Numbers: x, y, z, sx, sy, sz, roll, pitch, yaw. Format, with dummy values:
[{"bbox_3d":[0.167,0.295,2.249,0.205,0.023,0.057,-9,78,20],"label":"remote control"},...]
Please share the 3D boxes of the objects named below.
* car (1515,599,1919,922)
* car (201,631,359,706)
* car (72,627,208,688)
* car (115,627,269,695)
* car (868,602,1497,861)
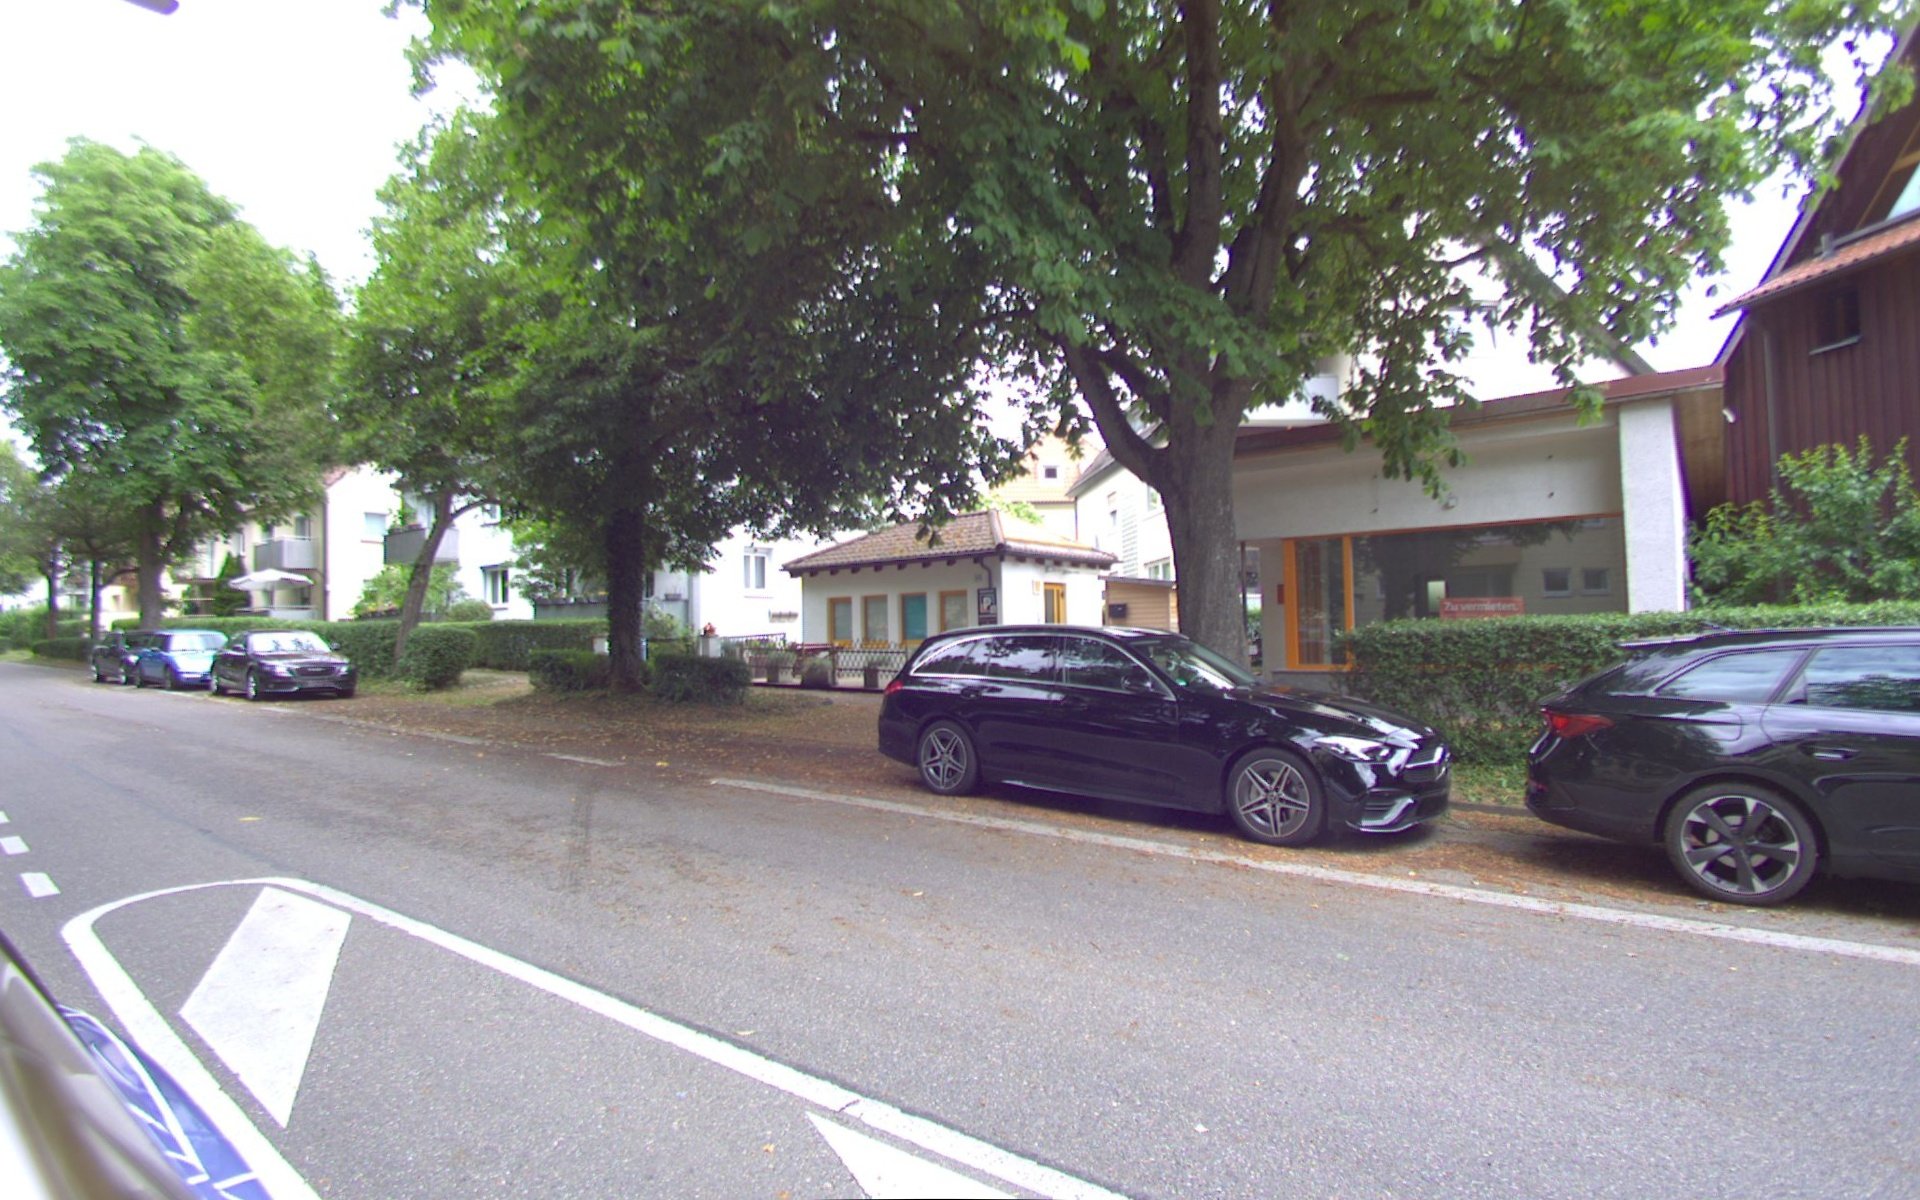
[{"bbox_3d":[5.449,0.751,4.987,4.536,1.497,1.674,-2,-3,38],"label":"car"},{"bbox_3d":[-14.223,1.369,21.092,4.169,1.414,1.713,-2,-3,41],"label":"car"},{"bbox_3d":[-22.606,1.553,27.851,4.558,1.545,1.866,-2,-3,37],"label":"car"},{"bbox_3d":[-18.918,1.455,24.859,4.558,1.512,1.866,-2,-3,37],"label":"car"},{"bbox_3d":[1.554,0.859,8.199,4.612,1.511,1.973,-2,-3,41],"label":"car"}]
